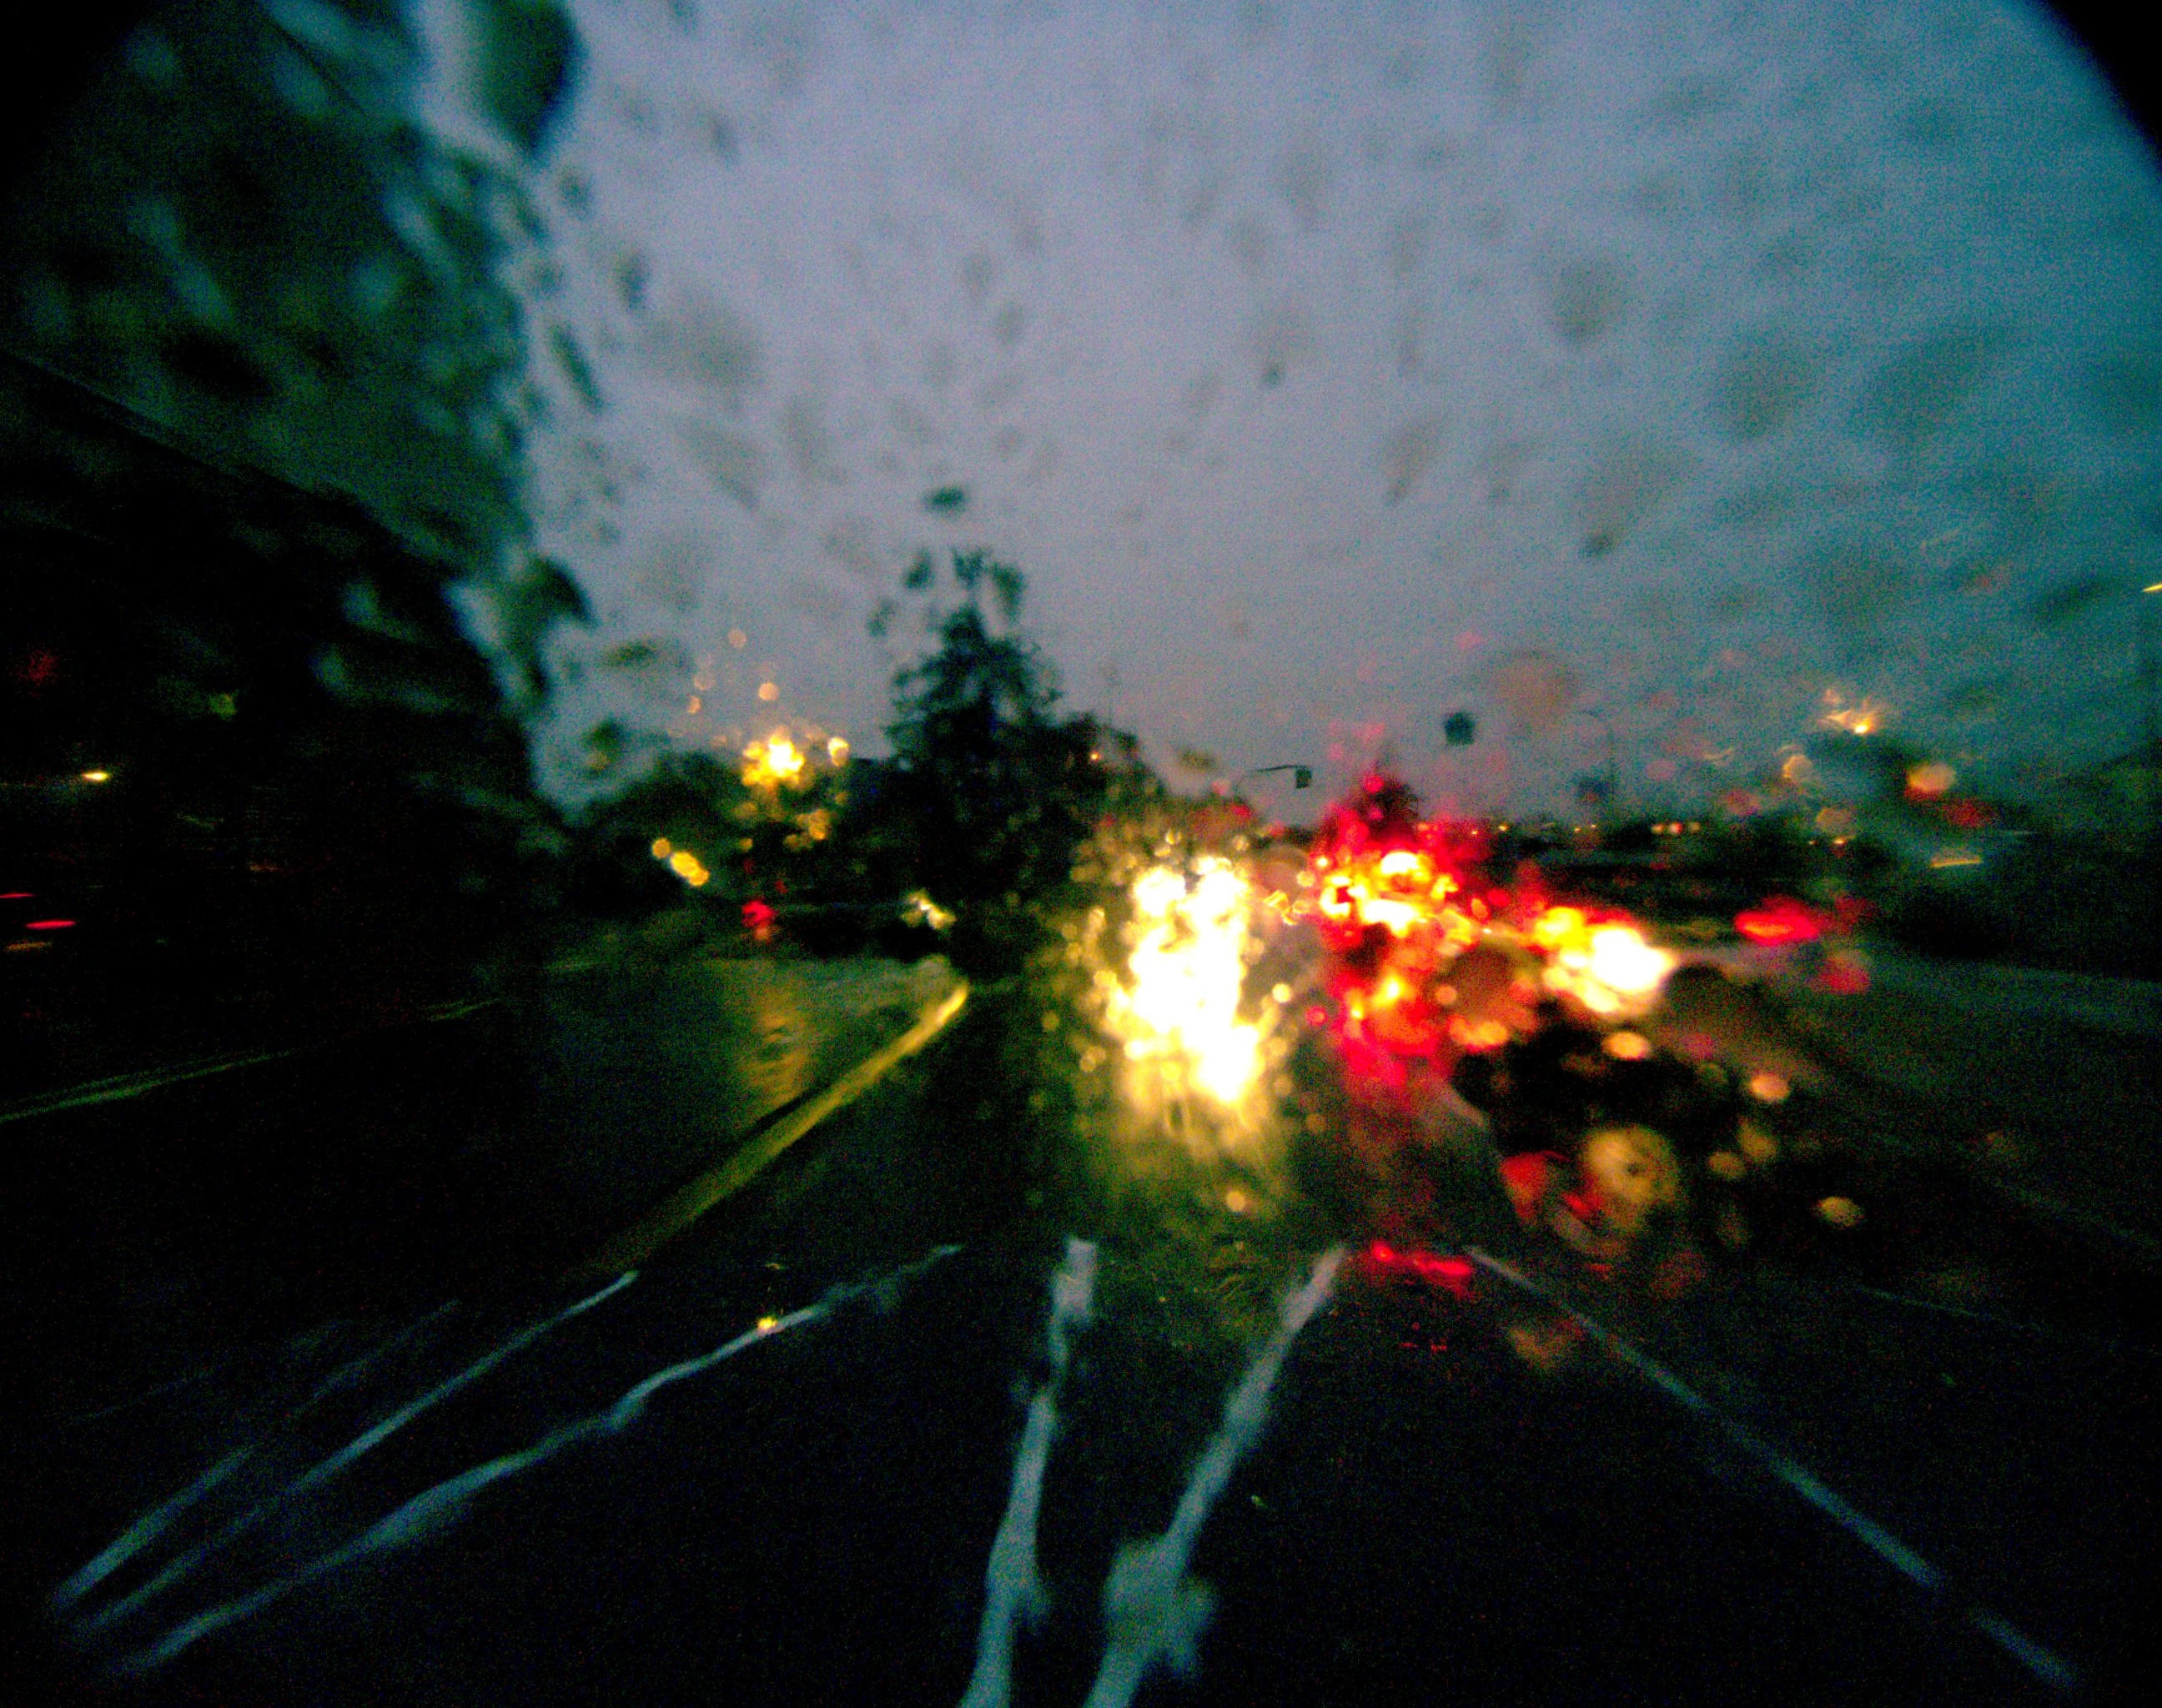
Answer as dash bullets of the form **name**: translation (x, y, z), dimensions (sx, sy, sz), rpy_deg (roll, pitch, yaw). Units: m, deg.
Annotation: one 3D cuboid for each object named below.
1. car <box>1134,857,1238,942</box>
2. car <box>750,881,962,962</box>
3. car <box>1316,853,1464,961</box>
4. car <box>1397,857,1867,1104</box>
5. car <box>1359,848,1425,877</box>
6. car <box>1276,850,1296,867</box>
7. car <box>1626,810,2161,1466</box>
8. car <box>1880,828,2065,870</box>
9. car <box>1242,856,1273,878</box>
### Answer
- **car**: translation (2.544, 0.933, 17.424), dimensions (1.774, 1.632, 4.426), rpy_deg (-2, 0, 15)
- **car**: translation (-4.945, 1.465, 17.155), dimensions (4.181, 1.432, 1.798), rpy_deg (-4, -1, -1)
- **car**: translation (5.029, 0.772, 12.874), dimensions (1.665, 1.477, 4.004), rpy_deg (-2, 0, 13)
- **car**: translation (4.249, 0.814, 6.777), dimensions (1.774, 1.486, 4.045), rpy_deg (-2, 0, 10)
- **car**: translation (17.964, 0.485, 43.850), dimensions (4.008, 1.464, 1.995), rpy_deg (-2, 0, -43)
- **car**: translation (23.122, 0.516, 85.568), dimensions (1.945, 1.795, 4.178), rpy_deg (-2, 0, 17)
- **car**: translation (3.680, 0.712, 1.926), dimensions (1.775, 1.713, 4.424), rpy_deg (-2, 0, 7)
- **car**: translation (35.665, -0.196, 30.624), dimensions (1.688, 1.528, 4.784), rpy_deg (-2, 0, -3)
- **car**: translation (12.630, 0.927, 54.216), dimensions (1.774, 1.422, 3.802), rpy_deg (-3, -1, 18)
